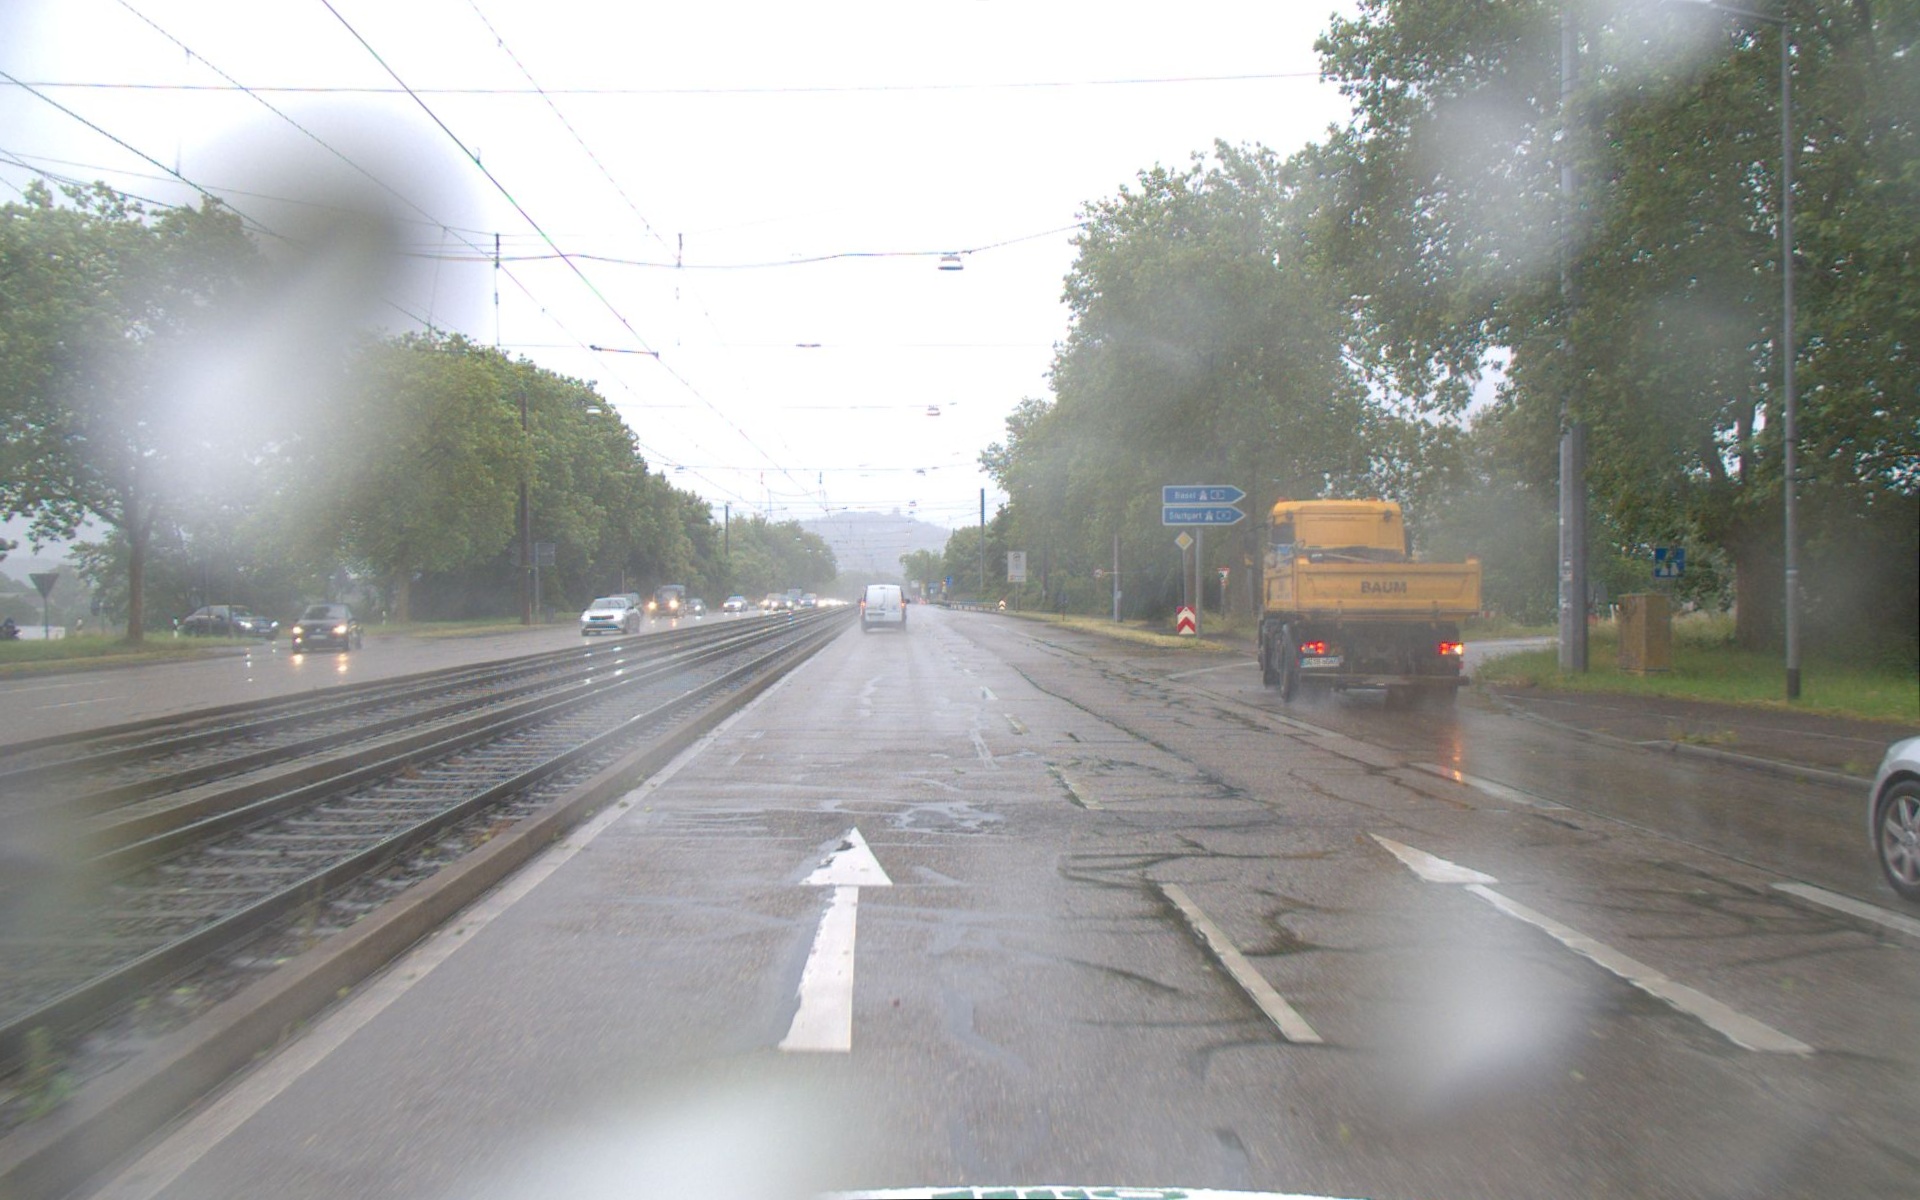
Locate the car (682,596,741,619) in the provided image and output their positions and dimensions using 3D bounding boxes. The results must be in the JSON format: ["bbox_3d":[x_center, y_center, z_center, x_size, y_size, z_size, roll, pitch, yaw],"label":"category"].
[{"bbox_3d":[-20.381,0.611,135.910,2.048,1.829,4.744,2,1,37],"label":"car"}]

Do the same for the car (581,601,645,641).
[{"bbox_3d":[-13.600,0.795,65.063,1.706,1.377,4.544,1,1,-2],"label":"car"}]

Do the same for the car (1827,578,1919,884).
[{"bbox_3d":[5.723,0.707,6.864,1.594,1.529,4.603,1,1,-4],"label":"car"}]

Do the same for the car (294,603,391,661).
[{"bbox_3d":[-18.968,0.953,50.950,1.655,1.579,3.998,1,1,-3],"label":"car"}]

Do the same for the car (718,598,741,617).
[{"bbox_3d":[-22.763,0.763,163.489,1.783,1.735,5.019,1,1,-2],"label":"car"}]

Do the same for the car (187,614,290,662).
[{"bbox_3d":[-29.727,1.536,68.121,4.557,1.716,1.840,2,1,36],"label":"car"}]

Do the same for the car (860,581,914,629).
[{"bbox_3d":[-2.763,0.171,63.489,1.949,1.713,3.739,1,1,-1],"label":"car"}]

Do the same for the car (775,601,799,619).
[{"bbox_3d":[-16.407,0.962,157.160,1.754,1.576,5.313,1,1,-1],"label":"car"}]

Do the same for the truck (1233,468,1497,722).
[{"bbox_3d":[5.913,-0.141,25.297,2.502,3.314,6.935,1,1,2],"label":"truck"}]

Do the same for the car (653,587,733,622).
[{"bbox_3d":[-19.364,0.283,120.229,2.292,2.468,5.827,2,1,36],"label":"car"}]
